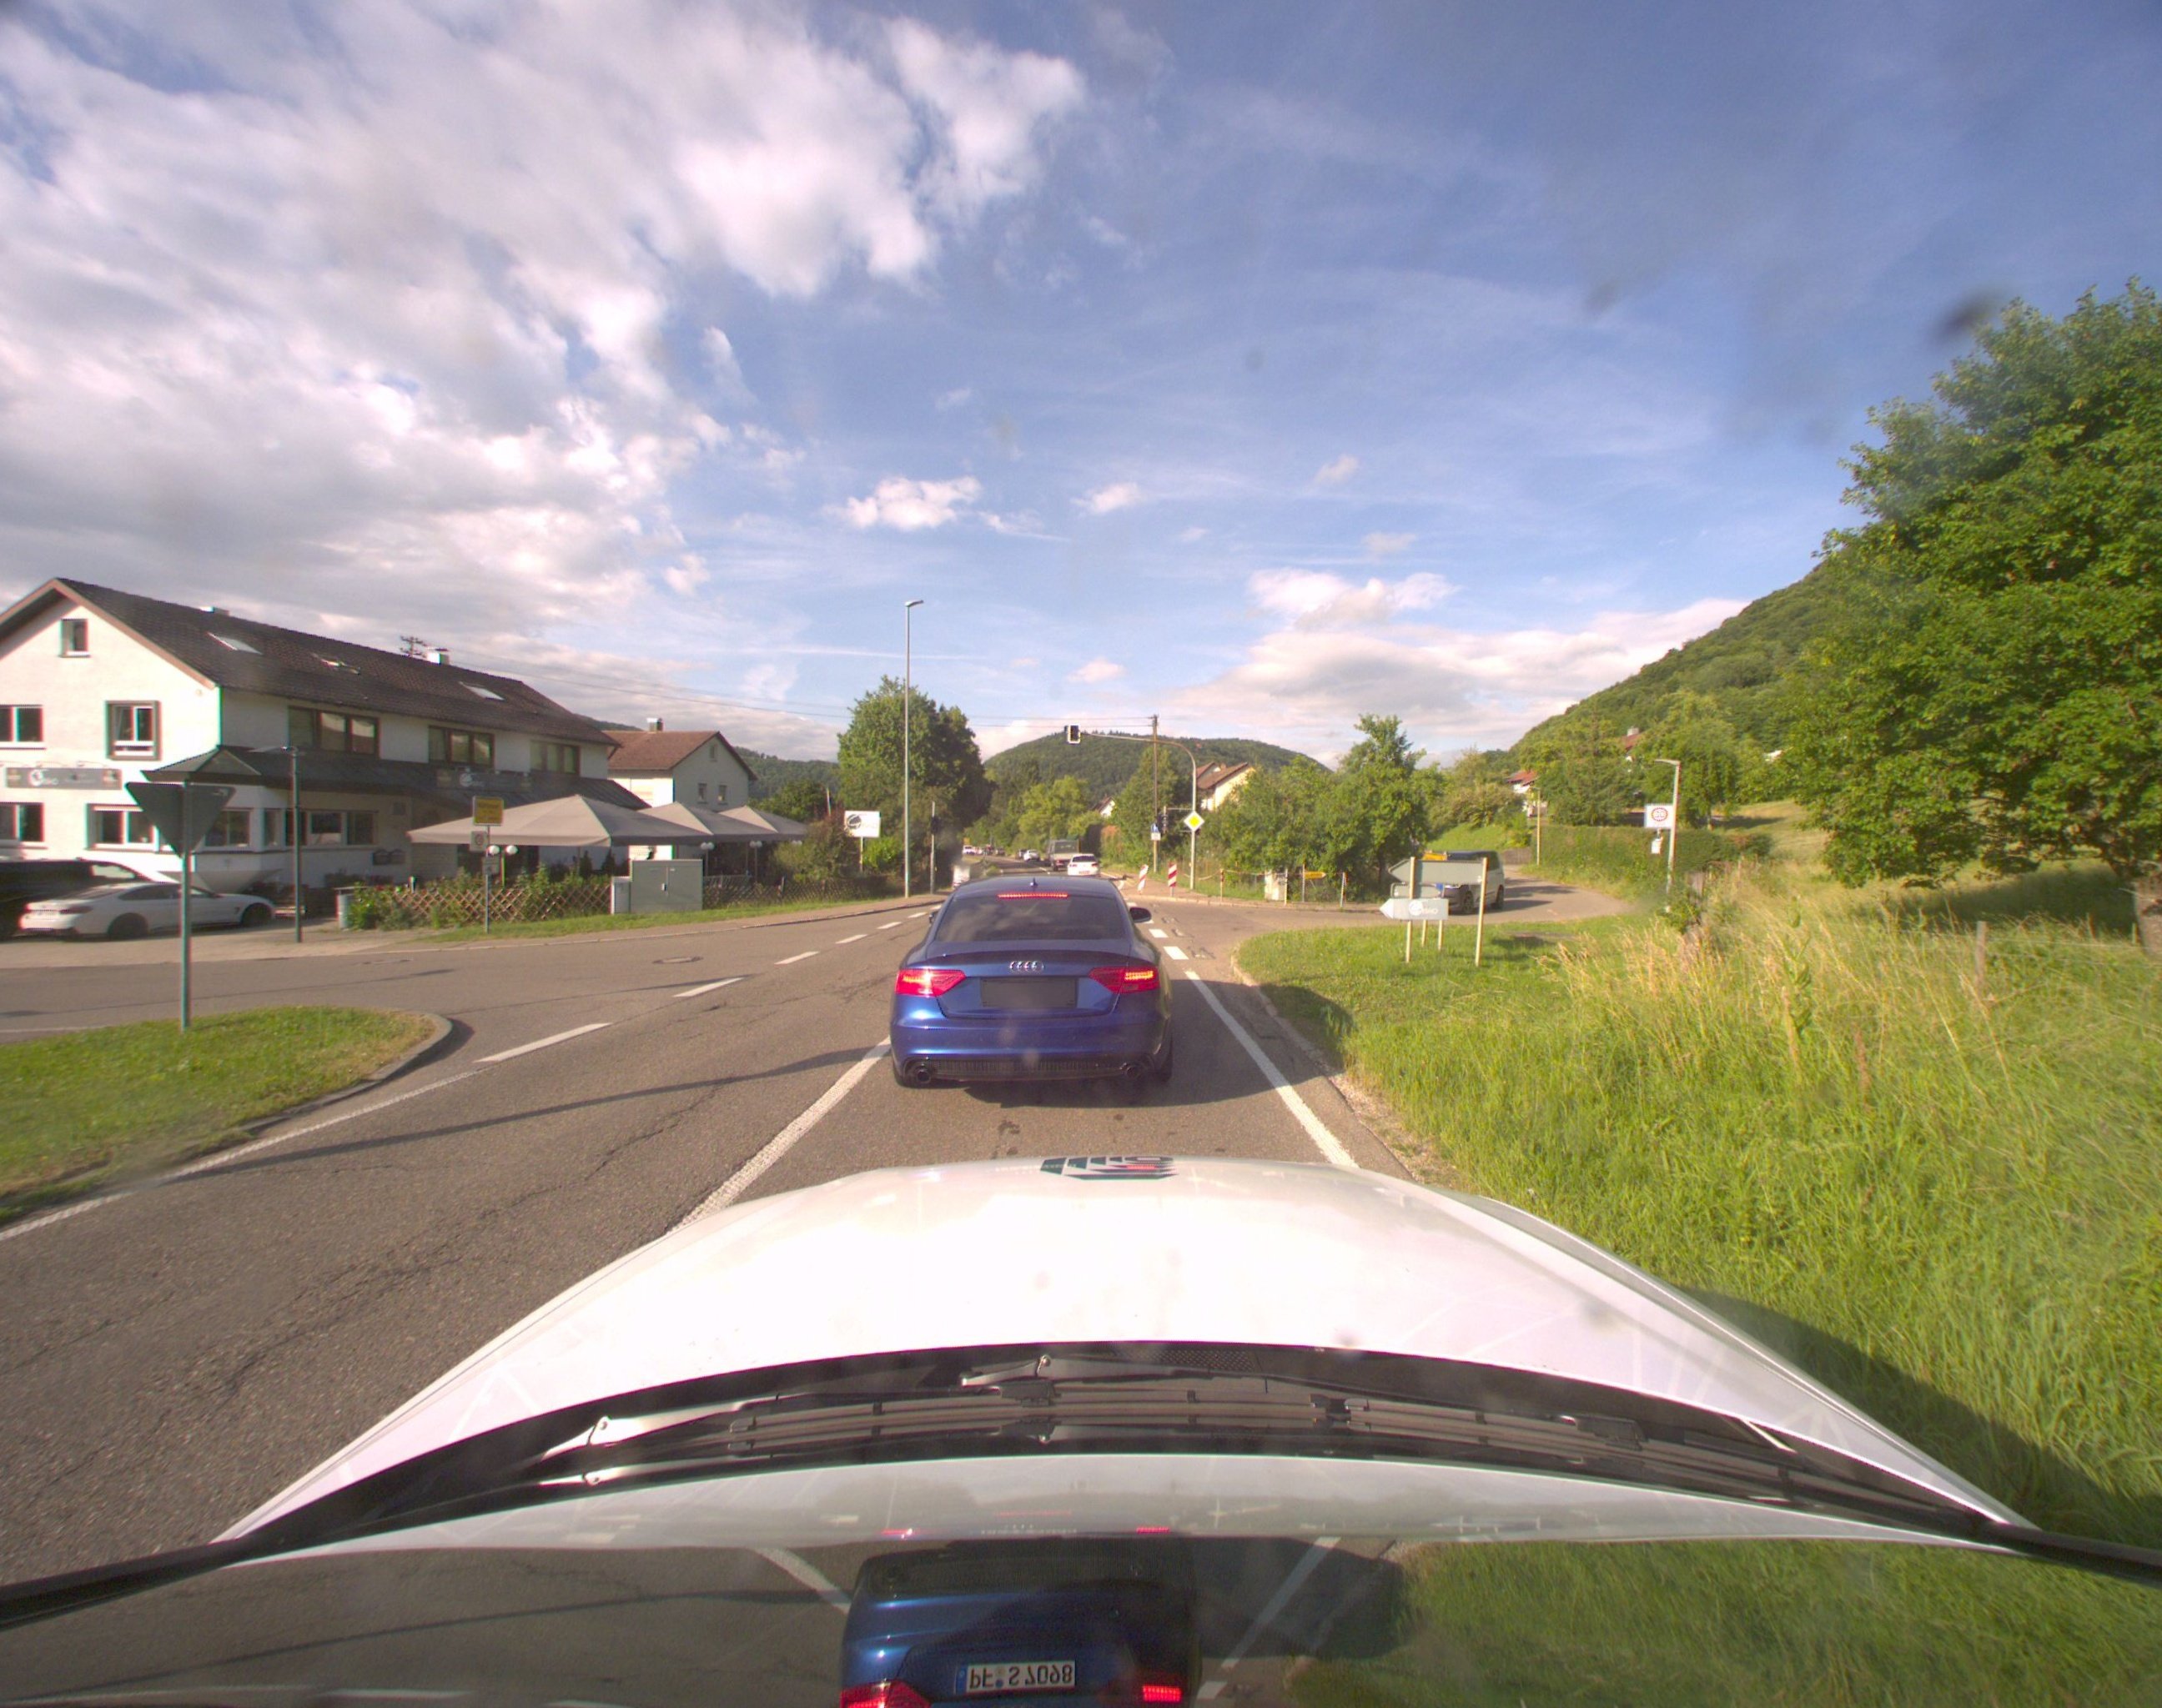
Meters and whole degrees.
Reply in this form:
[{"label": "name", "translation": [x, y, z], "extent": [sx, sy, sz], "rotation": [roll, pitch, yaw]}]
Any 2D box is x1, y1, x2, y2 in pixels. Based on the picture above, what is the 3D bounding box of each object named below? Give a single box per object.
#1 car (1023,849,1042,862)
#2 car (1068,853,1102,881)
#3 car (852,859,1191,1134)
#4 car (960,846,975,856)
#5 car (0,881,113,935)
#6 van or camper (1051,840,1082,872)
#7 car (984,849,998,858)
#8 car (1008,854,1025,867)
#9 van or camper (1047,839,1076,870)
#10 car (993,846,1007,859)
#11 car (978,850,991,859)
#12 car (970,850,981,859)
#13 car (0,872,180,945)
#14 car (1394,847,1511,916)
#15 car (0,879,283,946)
[{"label": "car", "translation": [-6.060, 0.171, 101.463], "extent": [1.819, 1.552, 3.987], "rotation": [-1, 1, -10]}, {"label": "car", "translation": [0.236, 0.671, 44.413], "extent": [1.765, 1.415, 4.174], "rotation": [1, 0, 0]}, {"label": "car", "translation": [-0.316, 0.797, 6.594], "extent": [1.824, 1.409, 4.226], "rotation": [-2, 0, 0]}, {"label": "car", "translation": [-20.980, -0.545, 150.589], "extent": [1.997, 1.903, 5.227], "rotation": [-2, 1, -15]}, {"label": "car", "translation": [-30.402, 1.537, 22.360], "extent": [1.984, 1.389, 4.582], "rotation": [-2, 0, 5]}, {"label": "van or camper", "translation": [-1.185, 0.135, 64.814], "extent": [2.176, 2.385, 5.362], "rotation": [-1, 0, -4]}, {"label": "car", "translation": [-16.397, -0.128, 148.584], "extent": [2.043, 1.684, 3.982], "rotation": [-1, 1, -13]}, {"label": "car", "translation": [-8.973, 0.872, 113.032], "extent": [1.798, 1.794, 3.984], "rotation": [-1, 0, -12]}, {"label": "van or camper", "translation": [-1.945, 0.018, 78.887], "extent": [2.410, 2.904, 6.122], "rotation": [-1, 0, -4]}, {"label": "car", "translation": [-13.893, -0.274, 139.391], "extent": [1.995, 2.013, 3.983], "rotation": [-1, 0, -12]}, {"label": "car", "translation": [-18.586, 0.091, 157.171], "extent": [1.944, 1.684, 3.982], "rotation": [-2, 0, -13]}, {"label": "car", "translation": [-21.501, 0.054, 165.946], "extent": [1.751, 1.783, 3.982], "rotation": [-1, 0, -13]}, {"label": "car", "translation": [-27.340, 1.407, 21.418], "extent": [1.984, 1.685, 4.582], "rotation": [-2, 0, 5]}, {"label": "car", "translation": [11.508, 0.756, 25.048], "extent": [1.975, 1.876, 4.901], "rotation": [2, 1, 40]}, {"label": "car", "translation": [-24.640, 1.473, 21.689], "extent": [1.984, 1.389, 4.582], "rotation": [-2, 0, 5]}]
